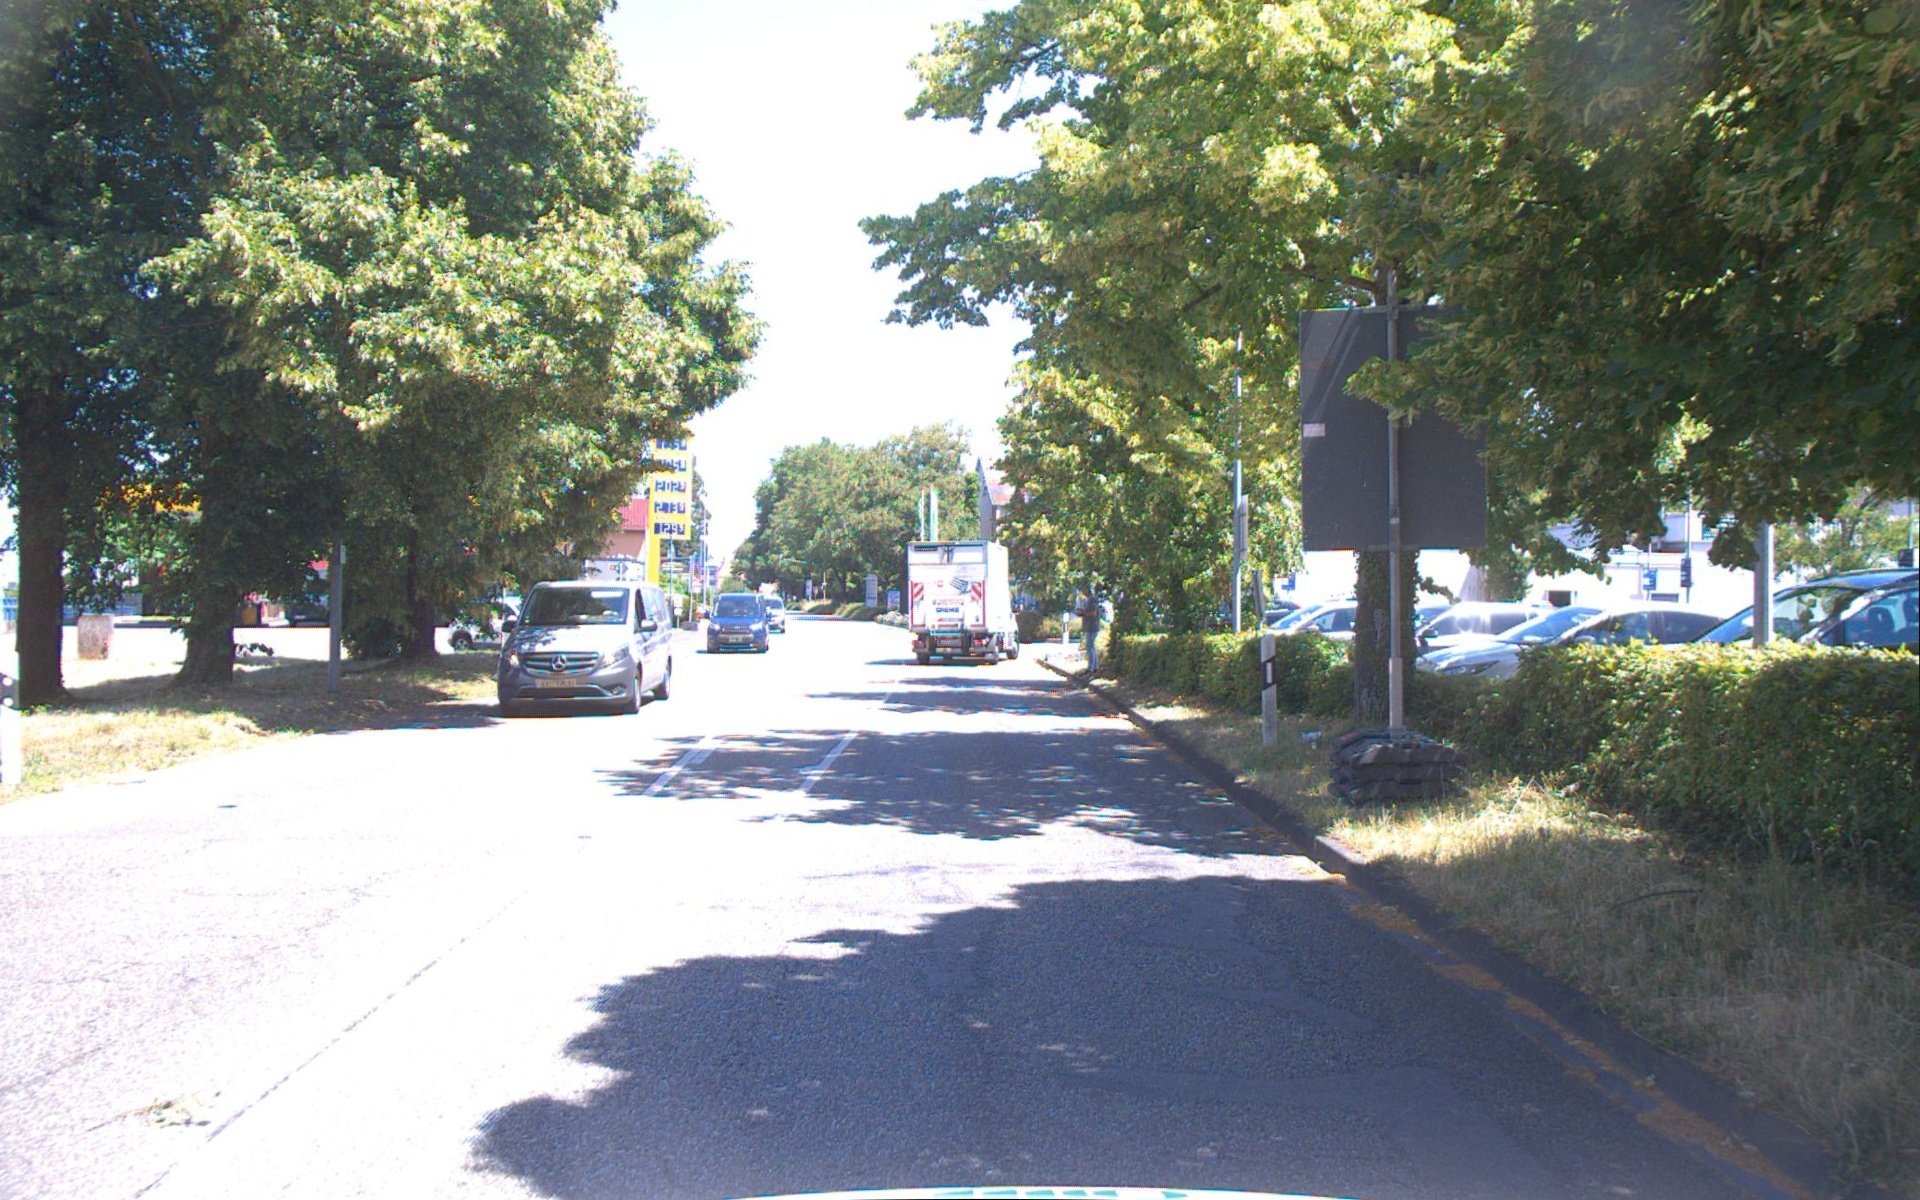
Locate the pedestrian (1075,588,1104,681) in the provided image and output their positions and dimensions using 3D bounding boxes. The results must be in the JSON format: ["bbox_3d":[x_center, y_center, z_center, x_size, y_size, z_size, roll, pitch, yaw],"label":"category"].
[{"bbox_3d":[2.551,0.674,32.601,0.536,1.807,0.577,0,0,2],"label":"pedestrian"}]

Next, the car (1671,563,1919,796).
[{"bbox_3d":[8.161,0.593,13.482,3.936,1.757,1.852,0,0,-3],"label":"car"}]

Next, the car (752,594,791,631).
[{"bbox_3d":[-9.398,0.607,82.571,1.694,1.791,3.959,0,0,-3],"label":"car"}]

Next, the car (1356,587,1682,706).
[{"bbox_3d":[7.912,0.640,23.651,4.024,1.603,1.866,0,0,-3],"label":"car"}]

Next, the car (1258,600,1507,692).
[{"bbox_3d":[7.294,0.772,28.782,3.866,1.537,1.705,0,0,-3],"label":"car"}]

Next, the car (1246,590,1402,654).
[{"bbox_3d":[9.061,0.535,41.346,3.494,1.535,1.761,0,0,-3],"label":"car"}]

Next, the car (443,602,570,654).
[{"bbox_3d":[-12.487,0.759,45.510,3.356,1.386,1.333,0,0,28],"label":"car"}]

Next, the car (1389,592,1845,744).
[{"bbox_3d":[7.120,0.706,18.213,4.303,1.565,1.830,0,0,-3],"label":"car"}]

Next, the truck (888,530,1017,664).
[{"bbox_3d":[-0.098,-0.113,42.190,2.479,3.190,5.366,0,1,8],"label":"truck"}]

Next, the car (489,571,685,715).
[{"bbox_3d":[-5.380,0.571,24.578,1.954,1.889,5.313,0,0,-3],"label":"car"}]

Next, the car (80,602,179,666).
[{"bbox_3d":[-22.390,0.878,44.701,1.708,1.612,3.981,0,0,-17],"label":"car"}]

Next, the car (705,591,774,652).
[{"bbox_3d":[-6.761,0.635,51.053,1.709,1.776,4.576,0,0,-3],"label":"car"}]
